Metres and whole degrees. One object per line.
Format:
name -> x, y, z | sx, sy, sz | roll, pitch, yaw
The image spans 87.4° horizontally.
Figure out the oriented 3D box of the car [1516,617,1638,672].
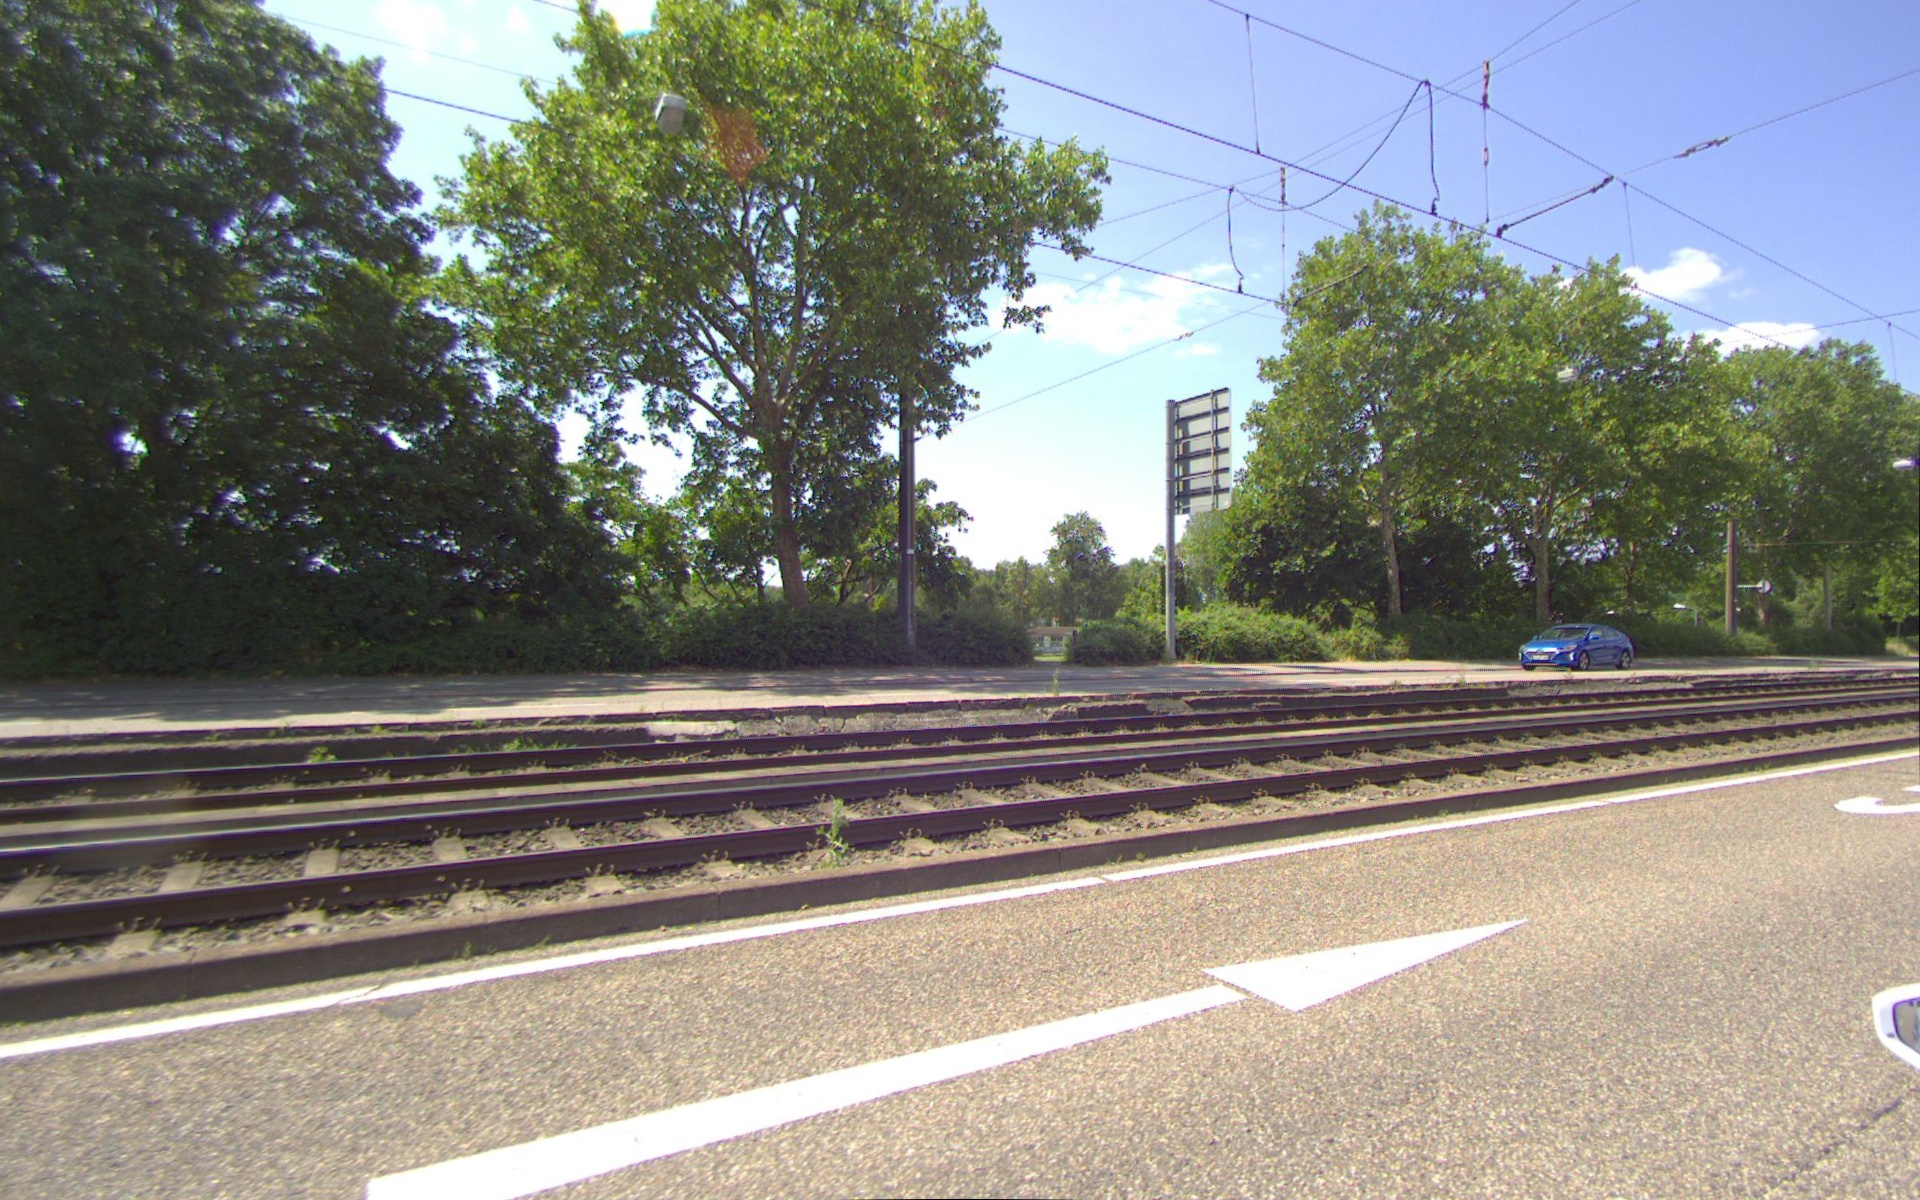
car -> 19.545, 1.378, 31.785 | 4.171, 1.571, 1.635 | 1, 0, -33
